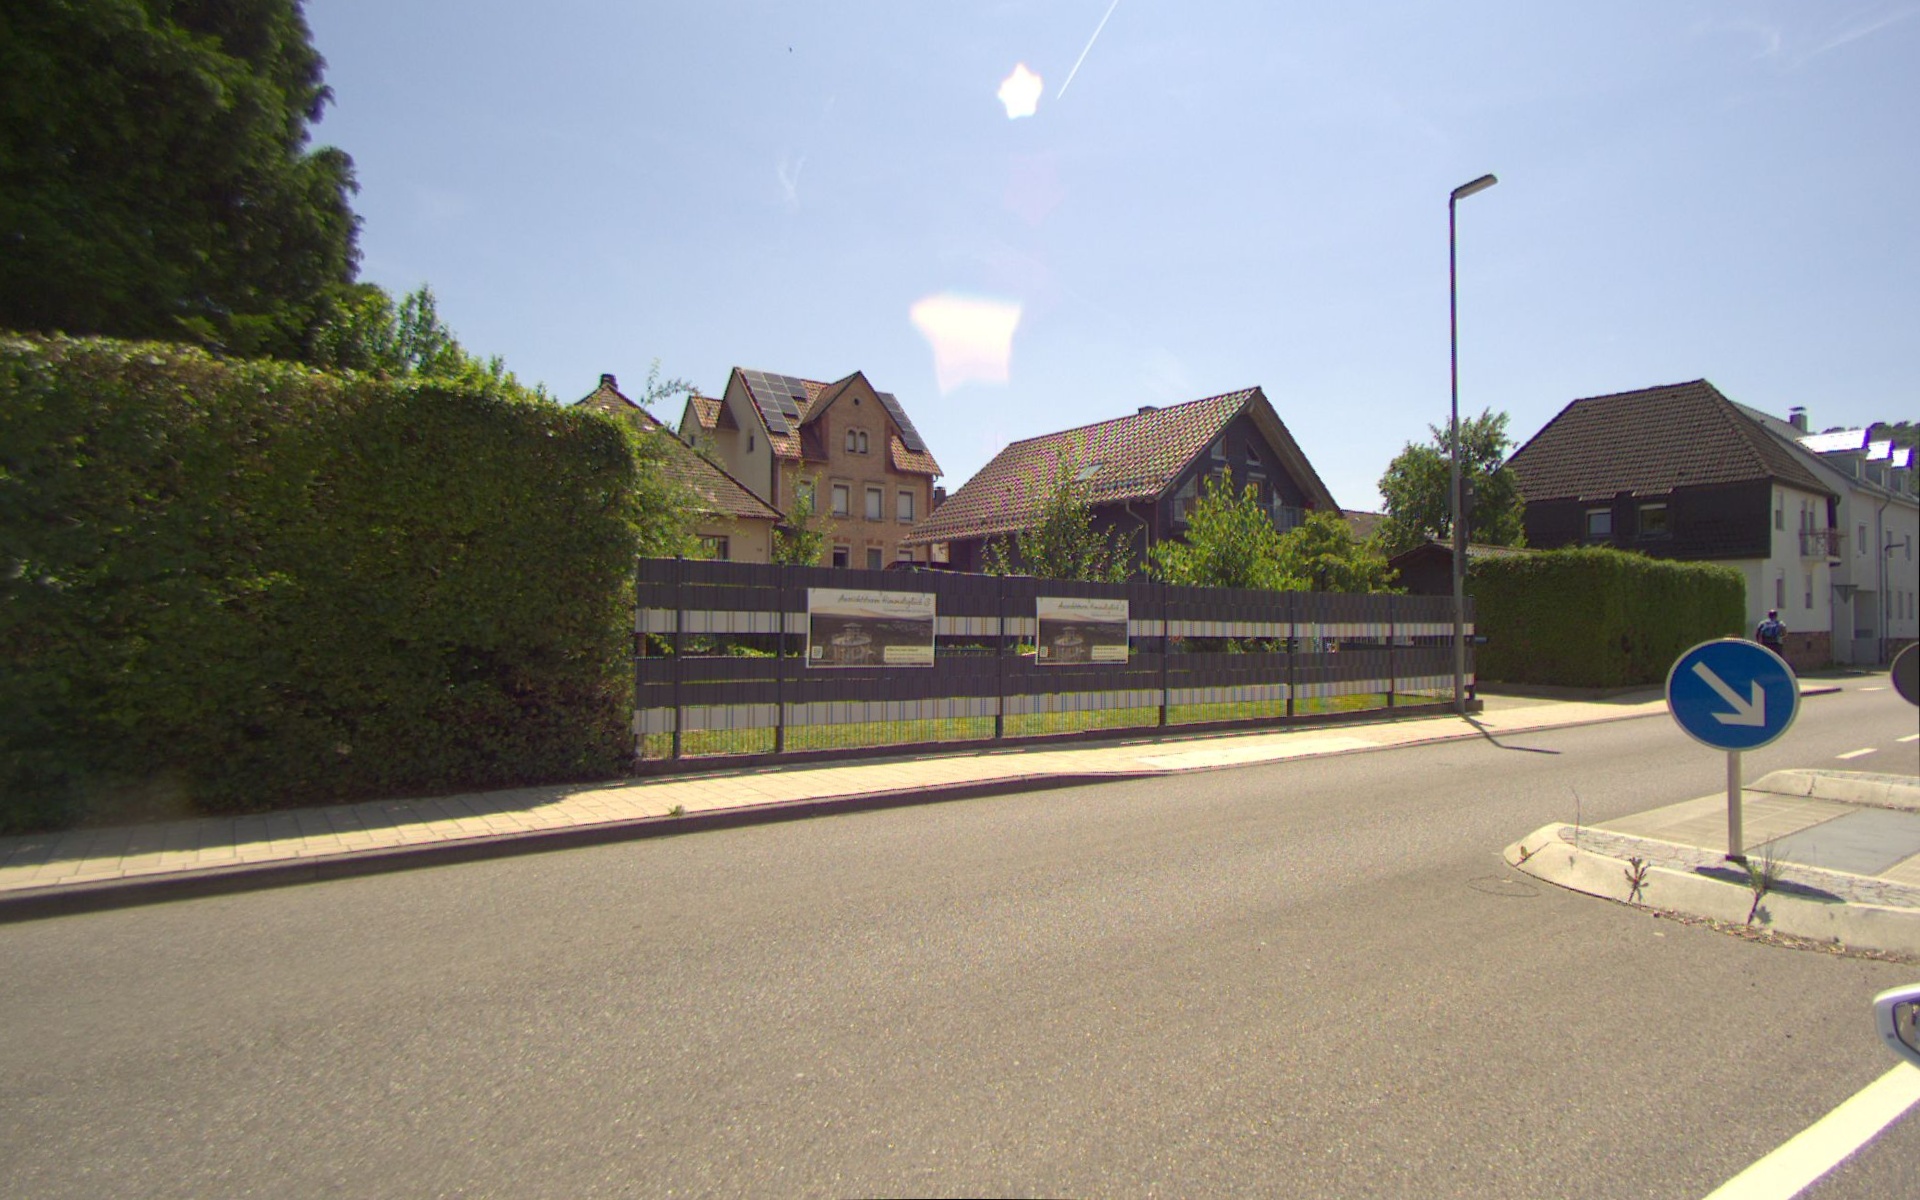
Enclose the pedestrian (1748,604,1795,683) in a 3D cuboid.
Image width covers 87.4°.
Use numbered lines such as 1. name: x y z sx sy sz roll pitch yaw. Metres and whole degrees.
1. pedestrian: 19.680 1.048 24.350 0.891 1.847 0.706 2 -1 -40
